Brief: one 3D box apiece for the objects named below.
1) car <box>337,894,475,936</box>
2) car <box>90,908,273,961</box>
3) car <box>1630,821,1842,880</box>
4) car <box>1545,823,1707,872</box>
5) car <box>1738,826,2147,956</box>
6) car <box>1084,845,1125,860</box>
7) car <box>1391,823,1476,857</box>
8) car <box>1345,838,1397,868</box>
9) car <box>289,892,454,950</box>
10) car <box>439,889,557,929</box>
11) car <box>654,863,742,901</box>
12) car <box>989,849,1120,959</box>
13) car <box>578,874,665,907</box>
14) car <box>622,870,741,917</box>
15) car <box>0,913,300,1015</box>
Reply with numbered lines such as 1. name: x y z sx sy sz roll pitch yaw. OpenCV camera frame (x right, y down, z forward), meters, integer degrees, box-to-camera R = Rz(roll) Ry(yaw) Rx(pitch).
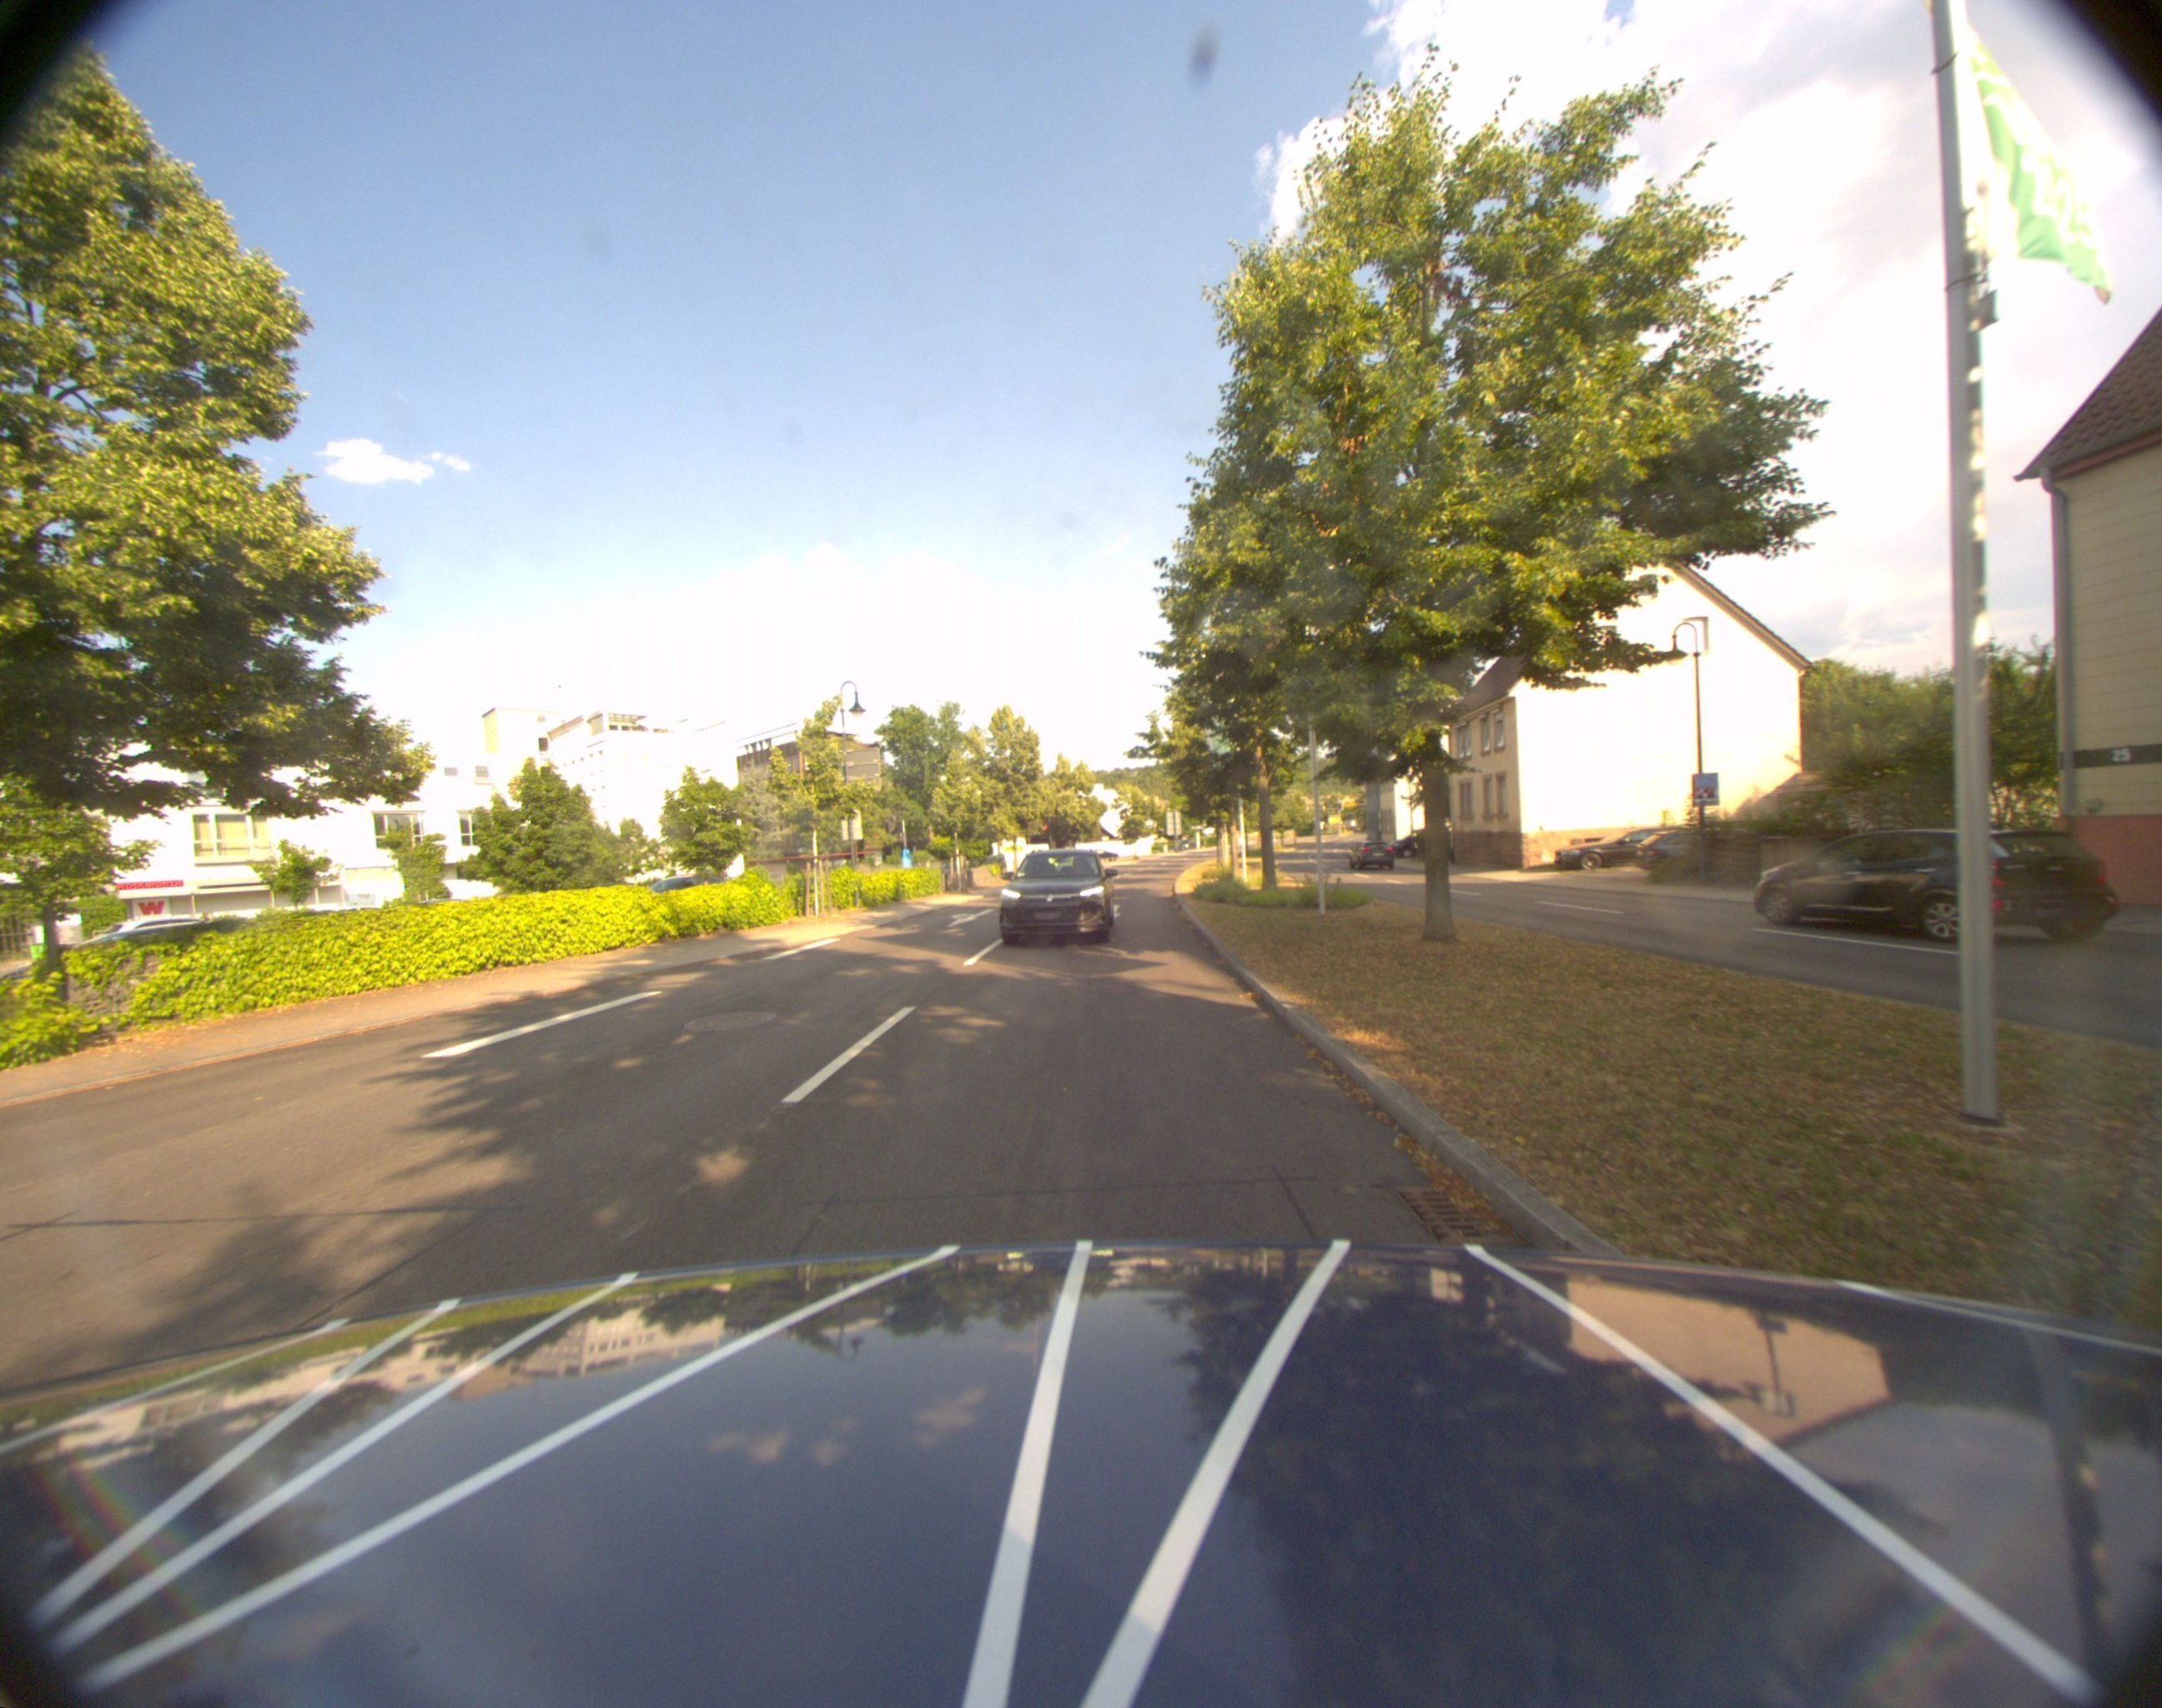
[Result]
1. car: -31.610 2.812 35.788 1.876 1.435 4.551 -3 1 11
2. car: -38.170 3.391 32.427 1.996 1.638 4.554 -3 1 22
3. car: 19.289 -0.097 22.647 4.351 1.477 1.949 -3 1 21
4. car: 19.677 -0.238 27.678 4.351 1.477 2.014 -3 1 20
5. car: 11.704 0.413 10.773 1.609 1.477 3.784 -2 1 3
6. car: 2.526 -0.176 80.783 3.831 1.412 1.940 -3 1 17
7. car: 23.685 -0.942 51.259 4.831 1.866 2.002 -5 1 16
8. car: 15.684 -0.086 41.275 1.943 1.477 4.328 -2 1 12
9. car: -28.074 2.602 30.286 1.891 1.713 4.320 -6 0 17
10. car: -27.040 2.517 35.424 1.997 1.435 3.955 -3 1 11
11. car: -22.042 1.560 43.961 1.997 1.844 4.650 -3 1 12
12. car: -0.306 0.765 13.861 1.724 1.605 4.262 -2 1 7
13. car: -28.572 2.217 47.439 1.997 1.638 4.551 -3 1 12
14. car: -17.074 1.647 32.797 1.997 1.523 4.551 -5 0 11
15. car: -21.224 2.357 17.176 1.997 1.530 4.551 -3 1 11
